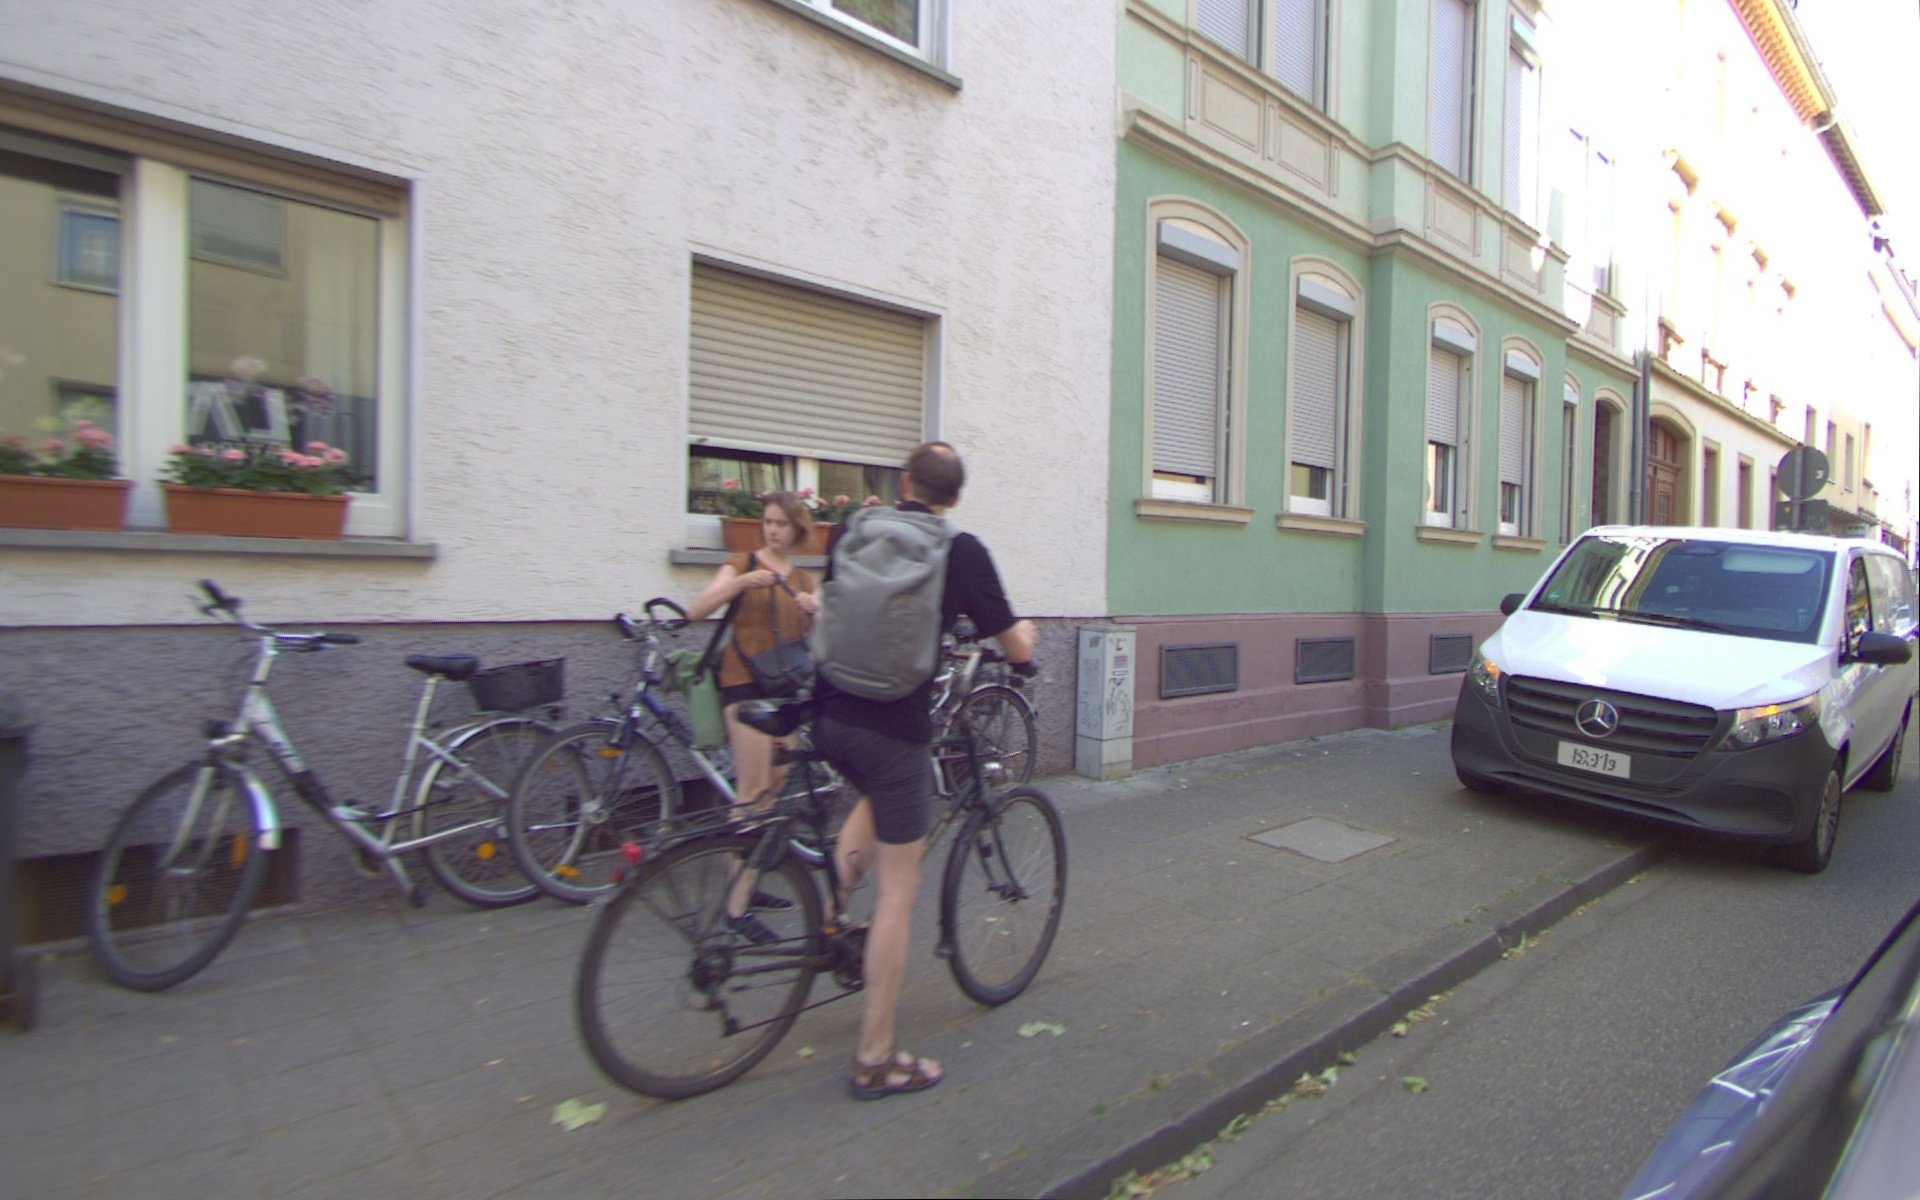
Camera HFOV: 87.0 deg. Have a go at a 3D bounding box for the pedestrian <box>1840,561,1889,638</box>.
[{"bbox_3d":[22.838,-0.016,25.556,0.644,1.882,0.742,3,2,27],"label":"pedestrian"}]

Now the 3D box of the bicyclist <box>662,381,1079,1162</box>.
[{"bbox_3d":[-0.260,0.378,2.865,0.809,1.792,0.761,1,3,-43],"label":"bicyclist"}]

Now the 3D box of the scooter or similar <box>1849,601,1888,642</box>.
[{"bbox_3d":[22.246,0.519,24.787,0.851,0.956,0.492,1,2,-35],"label":"scooter or similar"}]

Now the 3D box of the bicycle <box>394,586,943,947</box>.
[{"bbox_3d":[-1.118,0.567,4.308,2.223,1.221,0.439,-1,2,-35],"label":"bicycle"}]

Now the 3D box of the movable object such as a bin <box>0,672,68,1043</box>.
[{"bbox_3d":[-2.910,0.722,2.841,0.597,0.935,0.578,0,4,-41],"label":"movable object such as a bin"}]

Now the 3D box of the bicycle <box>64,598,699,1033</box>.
[{"bbox_3d":[-1.911,0.598,3.589,1.833,1.167,0.570,-1,2,-37],"label":"bicycle"}]

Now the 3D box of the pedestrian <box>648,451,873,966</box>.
[{"bbox_3d":[-0.772,0.353,3.847,0.672,1.732,0.658,-1,2,-29],"label":"pedestrian"}]

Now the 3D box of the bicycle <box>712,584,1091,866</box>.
[{"bbox_3d":[-0.214,0.538,5.272,2.120,1.221,0.406,-1,2,-38],"label":"bicycle"}]

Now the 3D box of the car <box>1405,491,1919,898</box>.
[{"bbox_3d":[5.513,0.358,7.319,5.503,1.906,1.988,0,5,-42],"label":"car"}]

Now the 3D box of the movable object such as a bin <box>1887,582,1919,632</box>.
[{"bbox_3d":[29.237,0.203,31.161,1.348,1.454,0.748,0,4,-39],"label":"movable object such as a bin"}]

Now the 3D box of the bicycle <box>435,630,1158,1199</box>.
[{"bbox_3d":[-0.318,0.707,2.877,1.955,1.150,0.664,1,3,-43],"label":"bicycle"}]
